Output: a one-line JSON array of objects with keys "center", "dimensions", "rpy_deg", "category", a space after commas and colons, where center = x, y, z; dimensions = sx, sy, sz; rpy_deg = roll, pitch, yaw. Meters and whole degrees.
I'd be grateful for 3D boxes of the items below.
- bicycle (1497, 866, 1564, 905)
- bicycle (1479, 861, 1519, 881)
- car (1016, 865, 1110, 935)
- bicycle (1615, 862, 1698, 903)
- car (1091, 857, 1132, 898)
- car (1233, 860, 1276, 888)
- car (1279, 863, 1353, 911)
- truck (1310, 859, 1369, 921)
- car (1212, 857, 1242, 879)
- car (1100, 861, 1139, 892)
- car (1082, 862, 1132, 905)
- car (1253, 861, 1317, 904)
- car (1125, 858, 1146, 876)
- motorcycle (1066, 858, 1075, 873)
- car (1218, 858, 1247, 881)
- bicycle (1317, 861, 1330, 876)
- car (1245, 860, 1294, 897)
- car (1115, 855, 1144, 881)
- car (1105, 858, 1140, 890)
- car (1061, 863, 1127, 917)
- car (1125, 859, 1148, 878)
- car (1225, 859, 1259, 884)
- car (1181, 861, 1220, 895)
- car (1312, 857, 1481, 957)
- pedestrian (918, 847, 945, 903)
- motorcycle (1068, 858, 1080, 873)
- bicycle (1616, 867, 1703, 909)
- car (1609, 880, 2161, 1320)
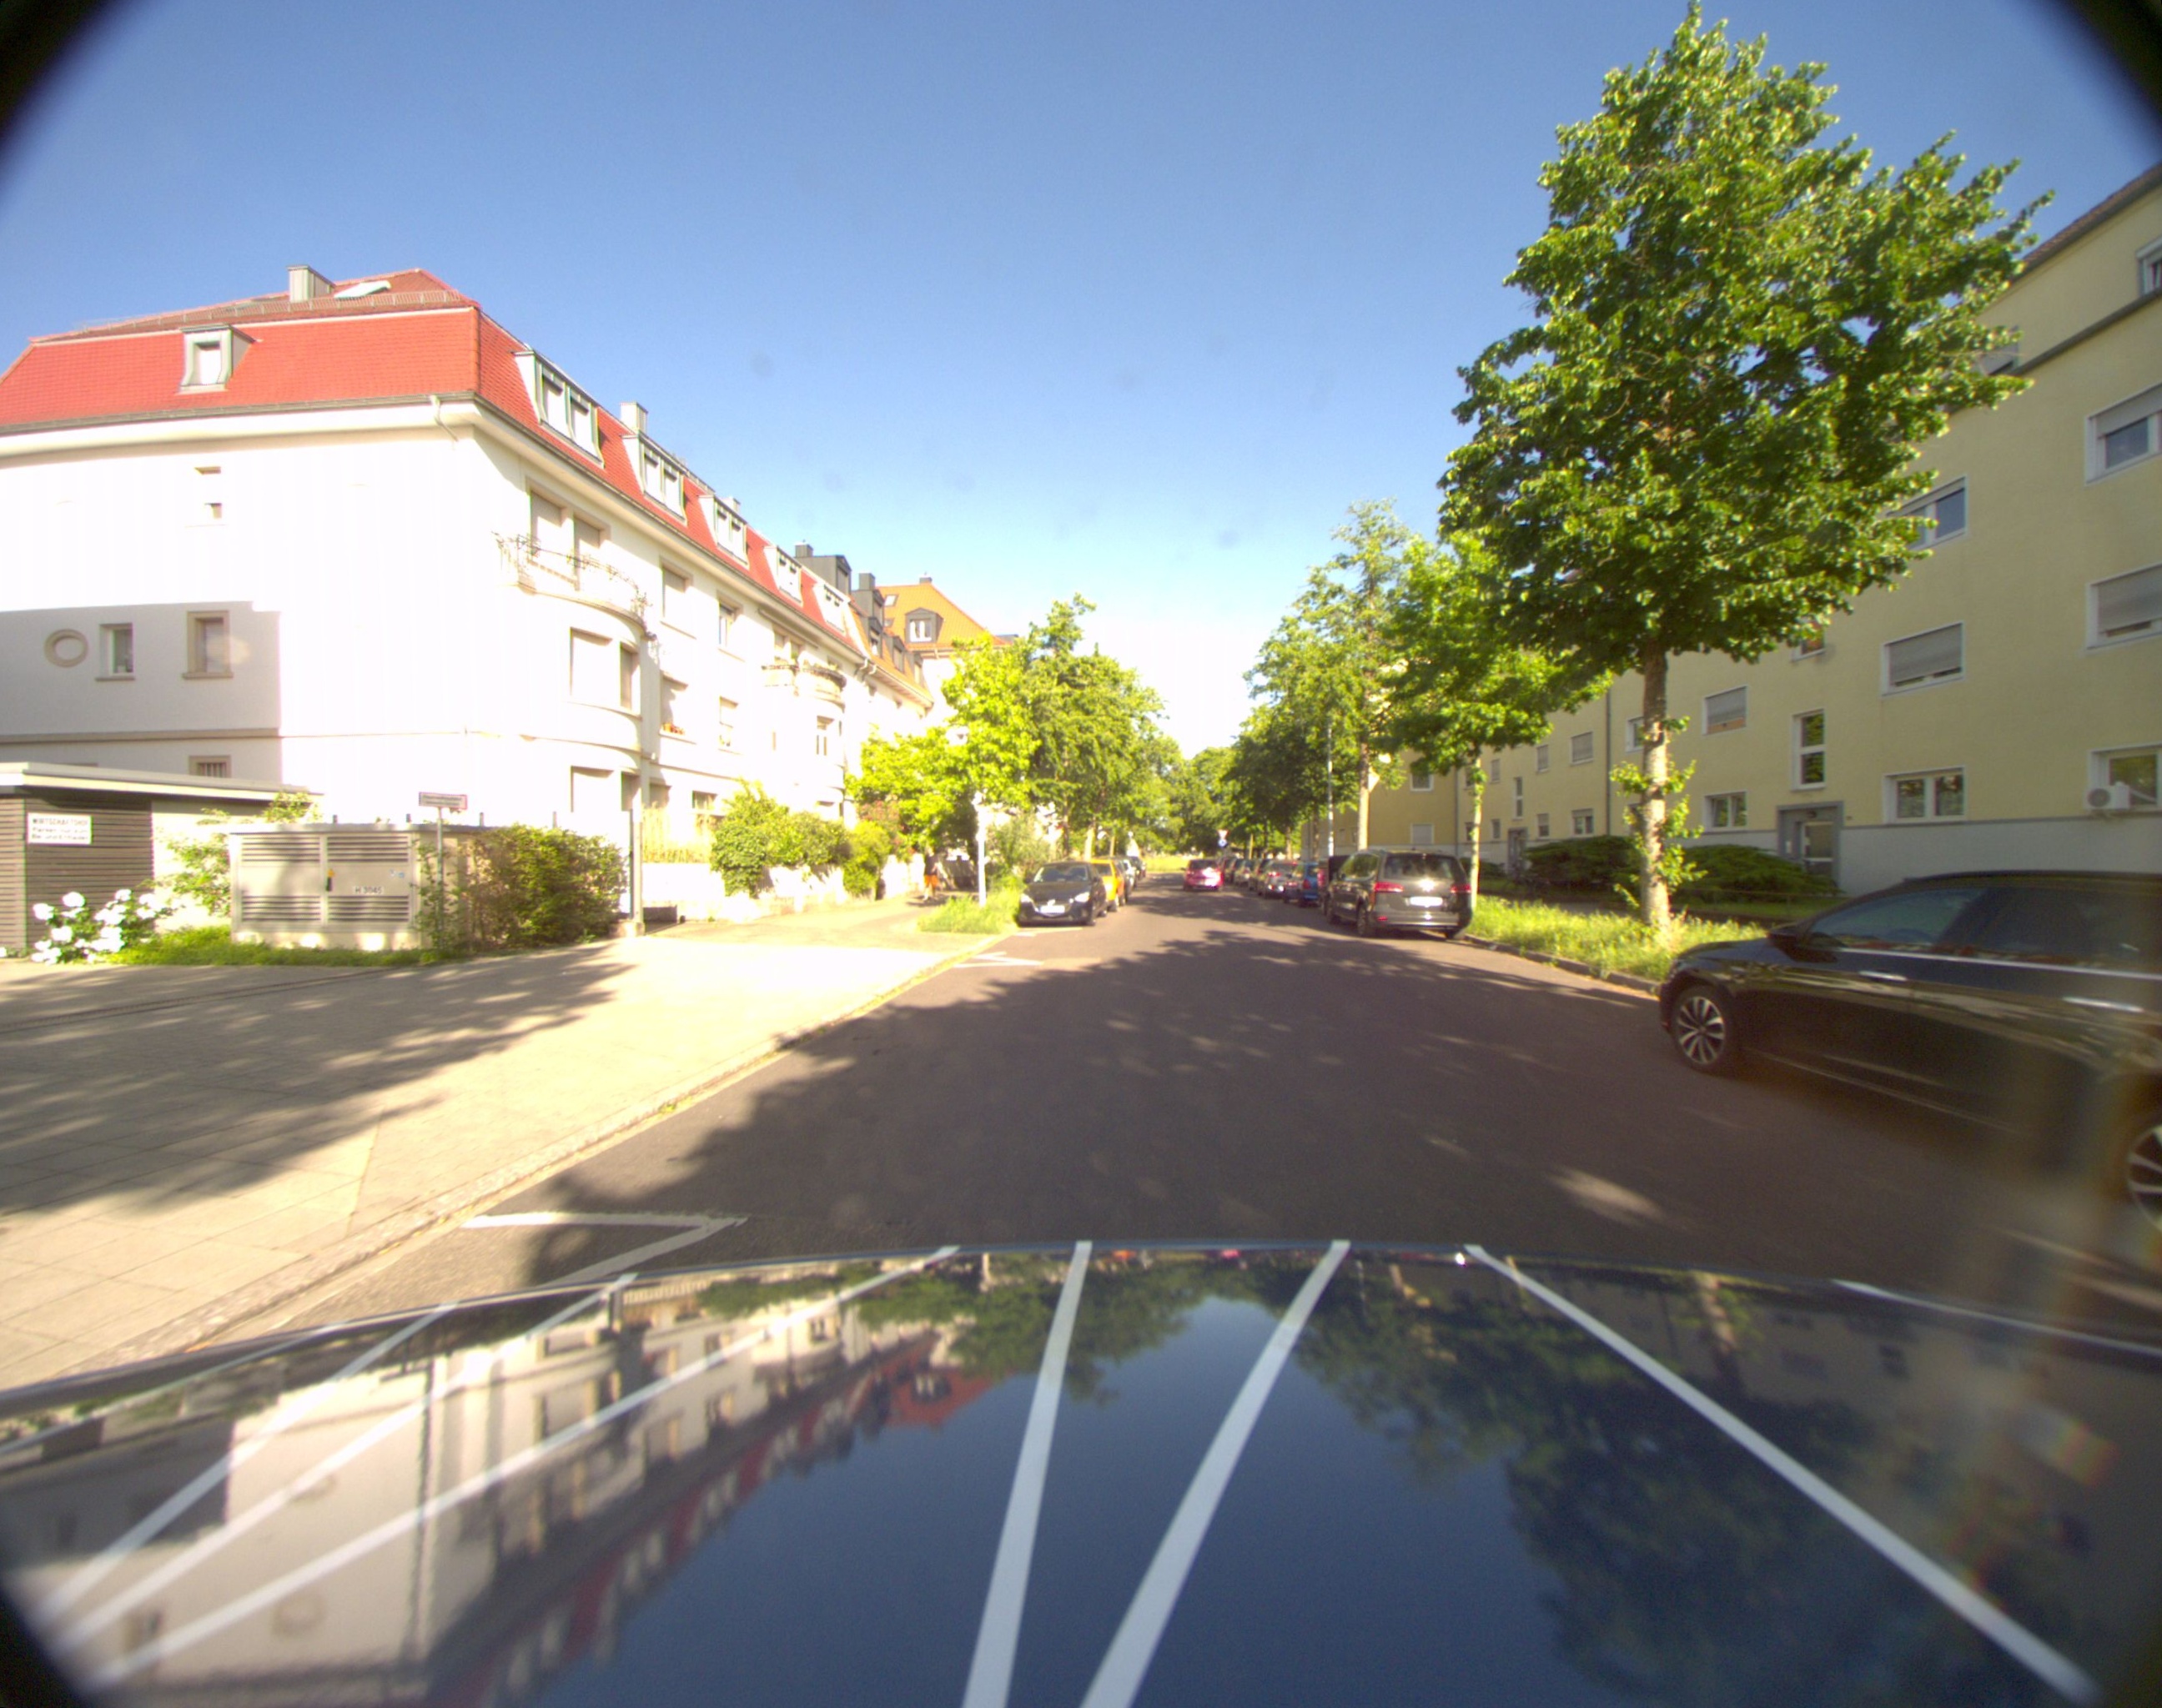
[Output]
[{"center": [13.458, 0.933, 22.788], "dimensions": [0.487, 1.075, 1.842], "rpy_deg": [-3, 1, -18], "category": "bicycle"}, {"center": [19.799, 0.804, 36.001], "dimensions": [1.637, 0.925, 0.481], "rpy_deg": [0, 0, -2], "category": "bicycle"}, {"center": [-0.324, 1.012, 18.396], "dimensions": [1.704, 1.440, 4.084], "rpy_deg": [0, 0, 7], "category": "car"}, {"center": [16.400, 0.815, 21.672], "dimensions": [1.842, 1.075, 0.487], "rpy_deg": [-2, 1, 9], "category": "bicycle"}, {"center": [1.349, 0.972, 33.056], "dimensions": [1.652, 1.646, 3.848], "rpy_deg": [-1, 0, 3], "category": "car"}, {"center": [9.223, 1.052, 40.711], "dimensions": [1.749, 1.360, 4.676], "rpy_deg": [1, 0, 6], "category": "car"}, {"center": [7.460, 1.011, 24.399], "dimensions": [1.524, 1.387, 3.728], "rpy_deg": [0, 0, 5], "category": "car"}, {"center": [6.904, 0.921, 20.408], "dimensions": [1.086, 1.568, 2.433], "rpy_deg": [0, 0, 9], "category": "truck"}, {"center": [10.631, 0.969, 55.614], "dimensions": [1.695, 1.555, 4.737], "rpy_deg": [0, 0, 5], "category": "car"}, {"center": [1.957, 1.077, 37.664], "dimensions": [1.633, 1.416, 4.370], "rpy_deg": [0, 0, 6], "category": "car"}, {"center": [1.018, 1.039, 27.940], "dimensions": [1.652, 1.420, 3.614], "rpy_deg": [0, 0, 4], "category": "car"}, {"center": [7.754, 1.026, 29.243], "dimensions": [1.795, 1.436, 4.691], "rpy_deg": [1, 0, 8], "category": "car"}, {"center": [4.596, 1.052, 63.338], "dimensions": [1.656, 1.394, 4.137], "rpy_deg": [0, 0, 6], "category": "car"}, {"center": [-0.905, 1.017, 65.964], "dimensions": [0.658, 1.272, 1.800], "rpy_deg": [1, 0, 0], "category": "motorcycle"}, {"center": [10.143, 1.003, 51.054], "dimensions": [1.668, 1.477, 3.258], "rpy_deg": [0, 0, 7], "category": "car"}, {"center": [17.100, 1.032, 53.587], "dimensions": [0.541, 1.021, 1.749], "rpy_deg": [0, 0, 8], "category": "bicycle"}, {"center": [8.565, 1.069, 34.806], "dimensions": [1.623, 1.506, 4.271], "rpy_deg": [2, 0, 7], "category": "car"}, {"center": [3.340, 0.945, 51.459], "dimensions": [1.784, 1.688, 4.300], "rpy_deg": [0, 0, 6], "category": "car"}, {"center": [2.354, 1.062, 42.246], "dimensions": [1.687, 1.578, 4.537], "rpy_deg": [-3, 0, 5], "category": "car"}, {"center": [0.477, 1.020, 22.903], "dimensions": [1.640, 1.446, 4.102], "rpy_deg": [0, 0, 6], "category": "car"}, {"center": [4.264, 1.065, 58.505], "dimensions": [1.615, 1.401, 4.352], "rpy_deg": [0, 0, 3], "category": "car"}, {"center": [9.732, 1.023, 46.168], "dimensions": [1.668, 1.450, 3.935], "rpy_deg": [0, 0, 7], "category": "car"}, {"center": [5.297, 1.045, 33.892], "dimensions": [1.508, 1.417, 3.179], "rpy_deg": [0, 0, 5], "category": "car"}, {"center": [6.275, 0.935, 15.816], "dimensions": [1.853, 1.671, 4.979], "rpy_deg": [2, 0, 6], "category": "car"}, {"center": [-4.787, 0.658, 24.295], "dimensions": [0.623, 1.764, 0.800], "rpy_deg": [1, 0, 6], "category": "pedestrian"}, {"center": [-0.617, 1.004, 67.815], "dimensions": [0.973, 1.321, 1.853], "rpy_deg": [-1, 0, 1], "category": "motorcycle"}, {"center": [15.144, 0.891, 19.906], "dimensions": [1.843, 1.075, 0.487], "rpy_deg": [0, 0, 3], "category": "bicycle"}, {"center": [4.966, 1.011, 3.926], "dimensions": [1.510, 1.539, 4.780], "rpy_deg": [2, 0, 6], "category": "car"}]
